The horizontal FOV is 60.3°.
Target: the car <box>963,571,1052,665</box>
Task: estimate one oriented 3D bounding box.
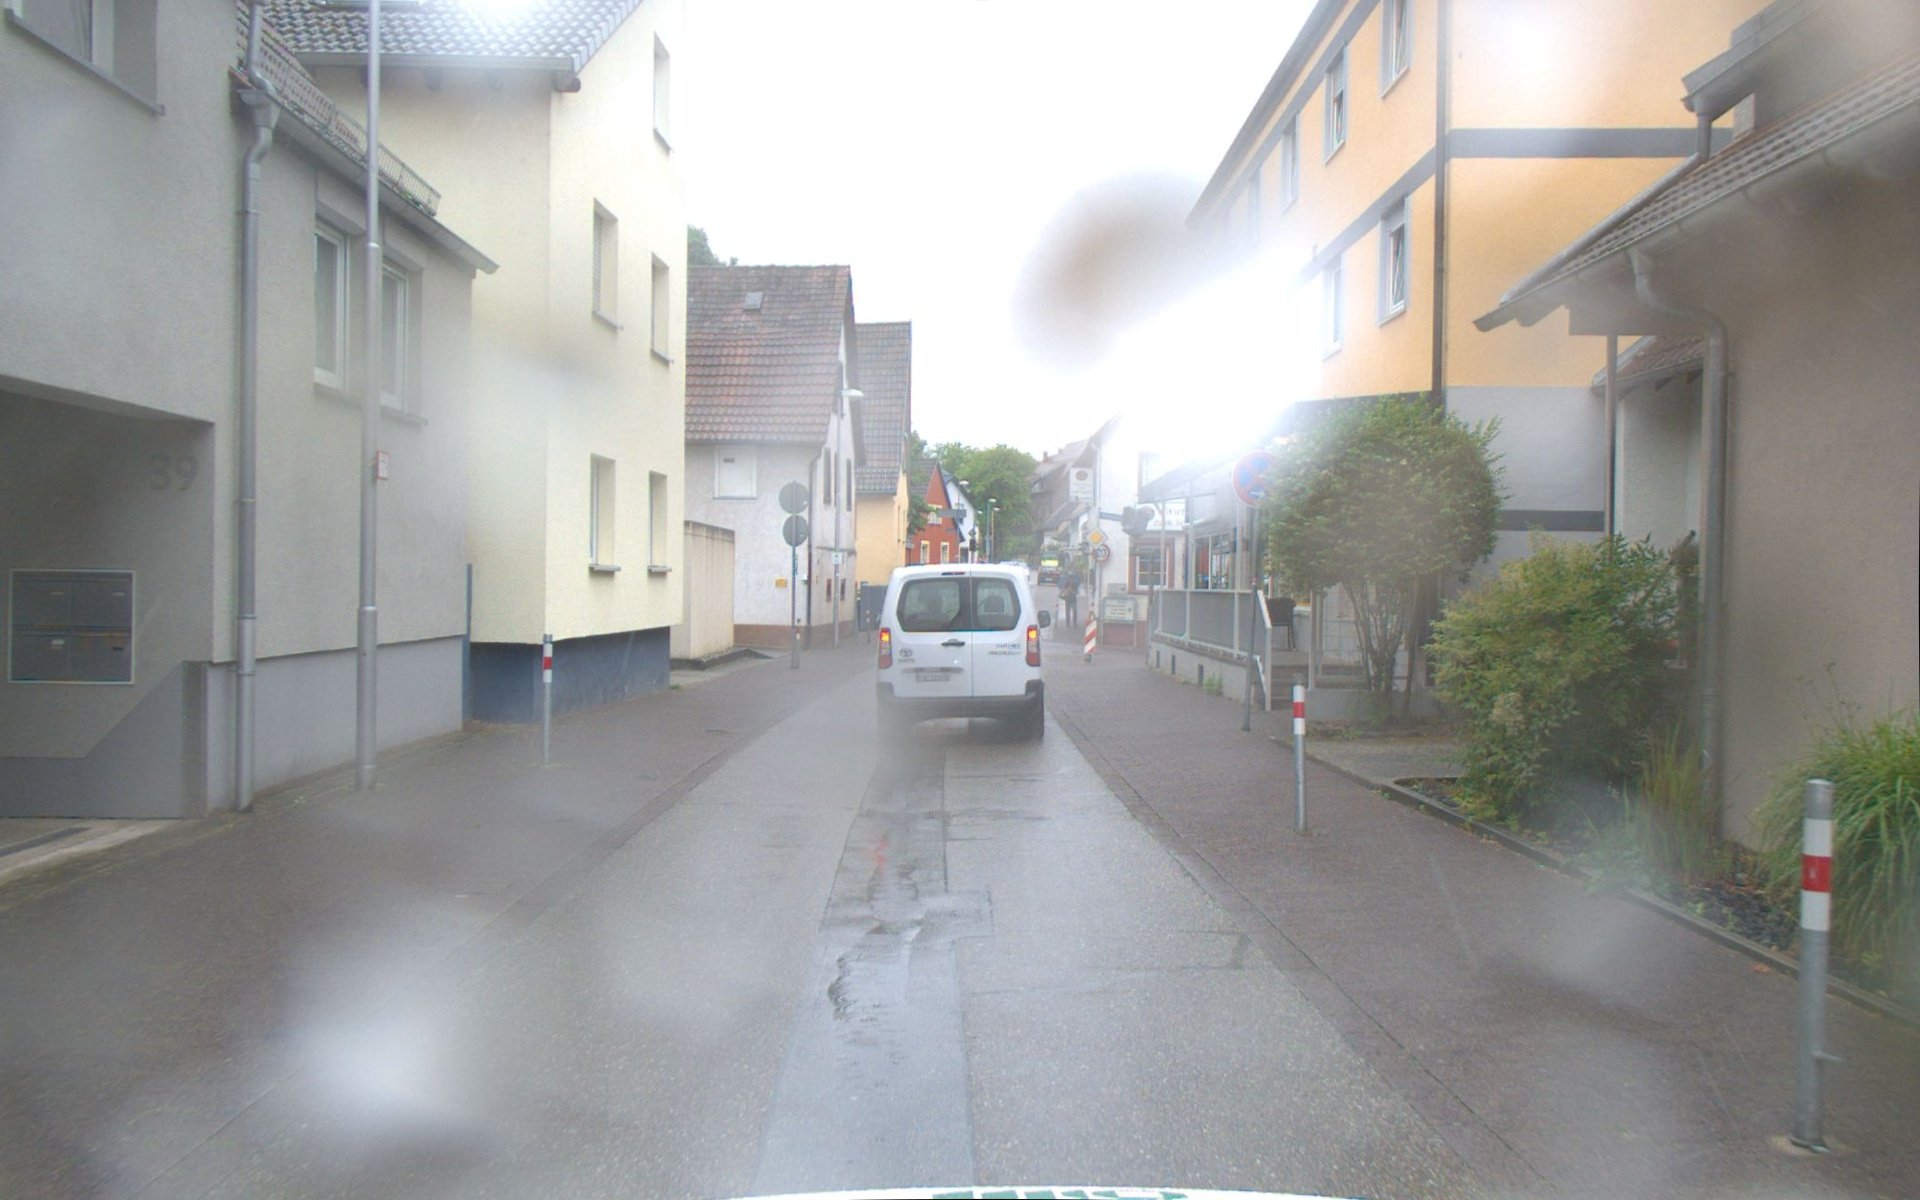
[{"bbox_3d":[1.138,0.400,38.805,1.952,2.049,4.001,-1,0,2],"label":"car"}]

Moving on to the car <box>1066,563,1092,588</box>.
[{"bbox_3d":[7.669,-1.569,106.578,1.555,1.466,3.768,2,0,5],"label":"car"}]

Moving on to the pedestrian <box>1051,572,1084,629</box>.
[{"bbox_3d":[3.661,0.020,56.149,1.029,1.926,0.877,-1,0,-1],"label":"pedestrian"}]

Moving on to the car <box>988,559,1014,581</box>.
[{"bbox_3d":[3.010,-2.173,120.147,1.555,1.466,3.768,2,0,6],"label":"car"}]

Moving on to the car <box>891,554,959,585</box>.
[{"bbox_3d":[-2.006,-1.790,95.541,3.376,1.586,1.985,-4,2,-24],"label":"car"}]

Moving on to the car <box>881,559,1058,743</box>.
[{"bbox_3d":[0.154,0.509,18.435,1.738,1.811,4.001,-1,0,2],"label":"car"}]

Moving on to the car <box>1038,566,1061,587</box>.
[{"bbox_3d":[6.637,-1.718,122.773,1.555,1.466,3.768,2,0,5],"label":"car"}]
